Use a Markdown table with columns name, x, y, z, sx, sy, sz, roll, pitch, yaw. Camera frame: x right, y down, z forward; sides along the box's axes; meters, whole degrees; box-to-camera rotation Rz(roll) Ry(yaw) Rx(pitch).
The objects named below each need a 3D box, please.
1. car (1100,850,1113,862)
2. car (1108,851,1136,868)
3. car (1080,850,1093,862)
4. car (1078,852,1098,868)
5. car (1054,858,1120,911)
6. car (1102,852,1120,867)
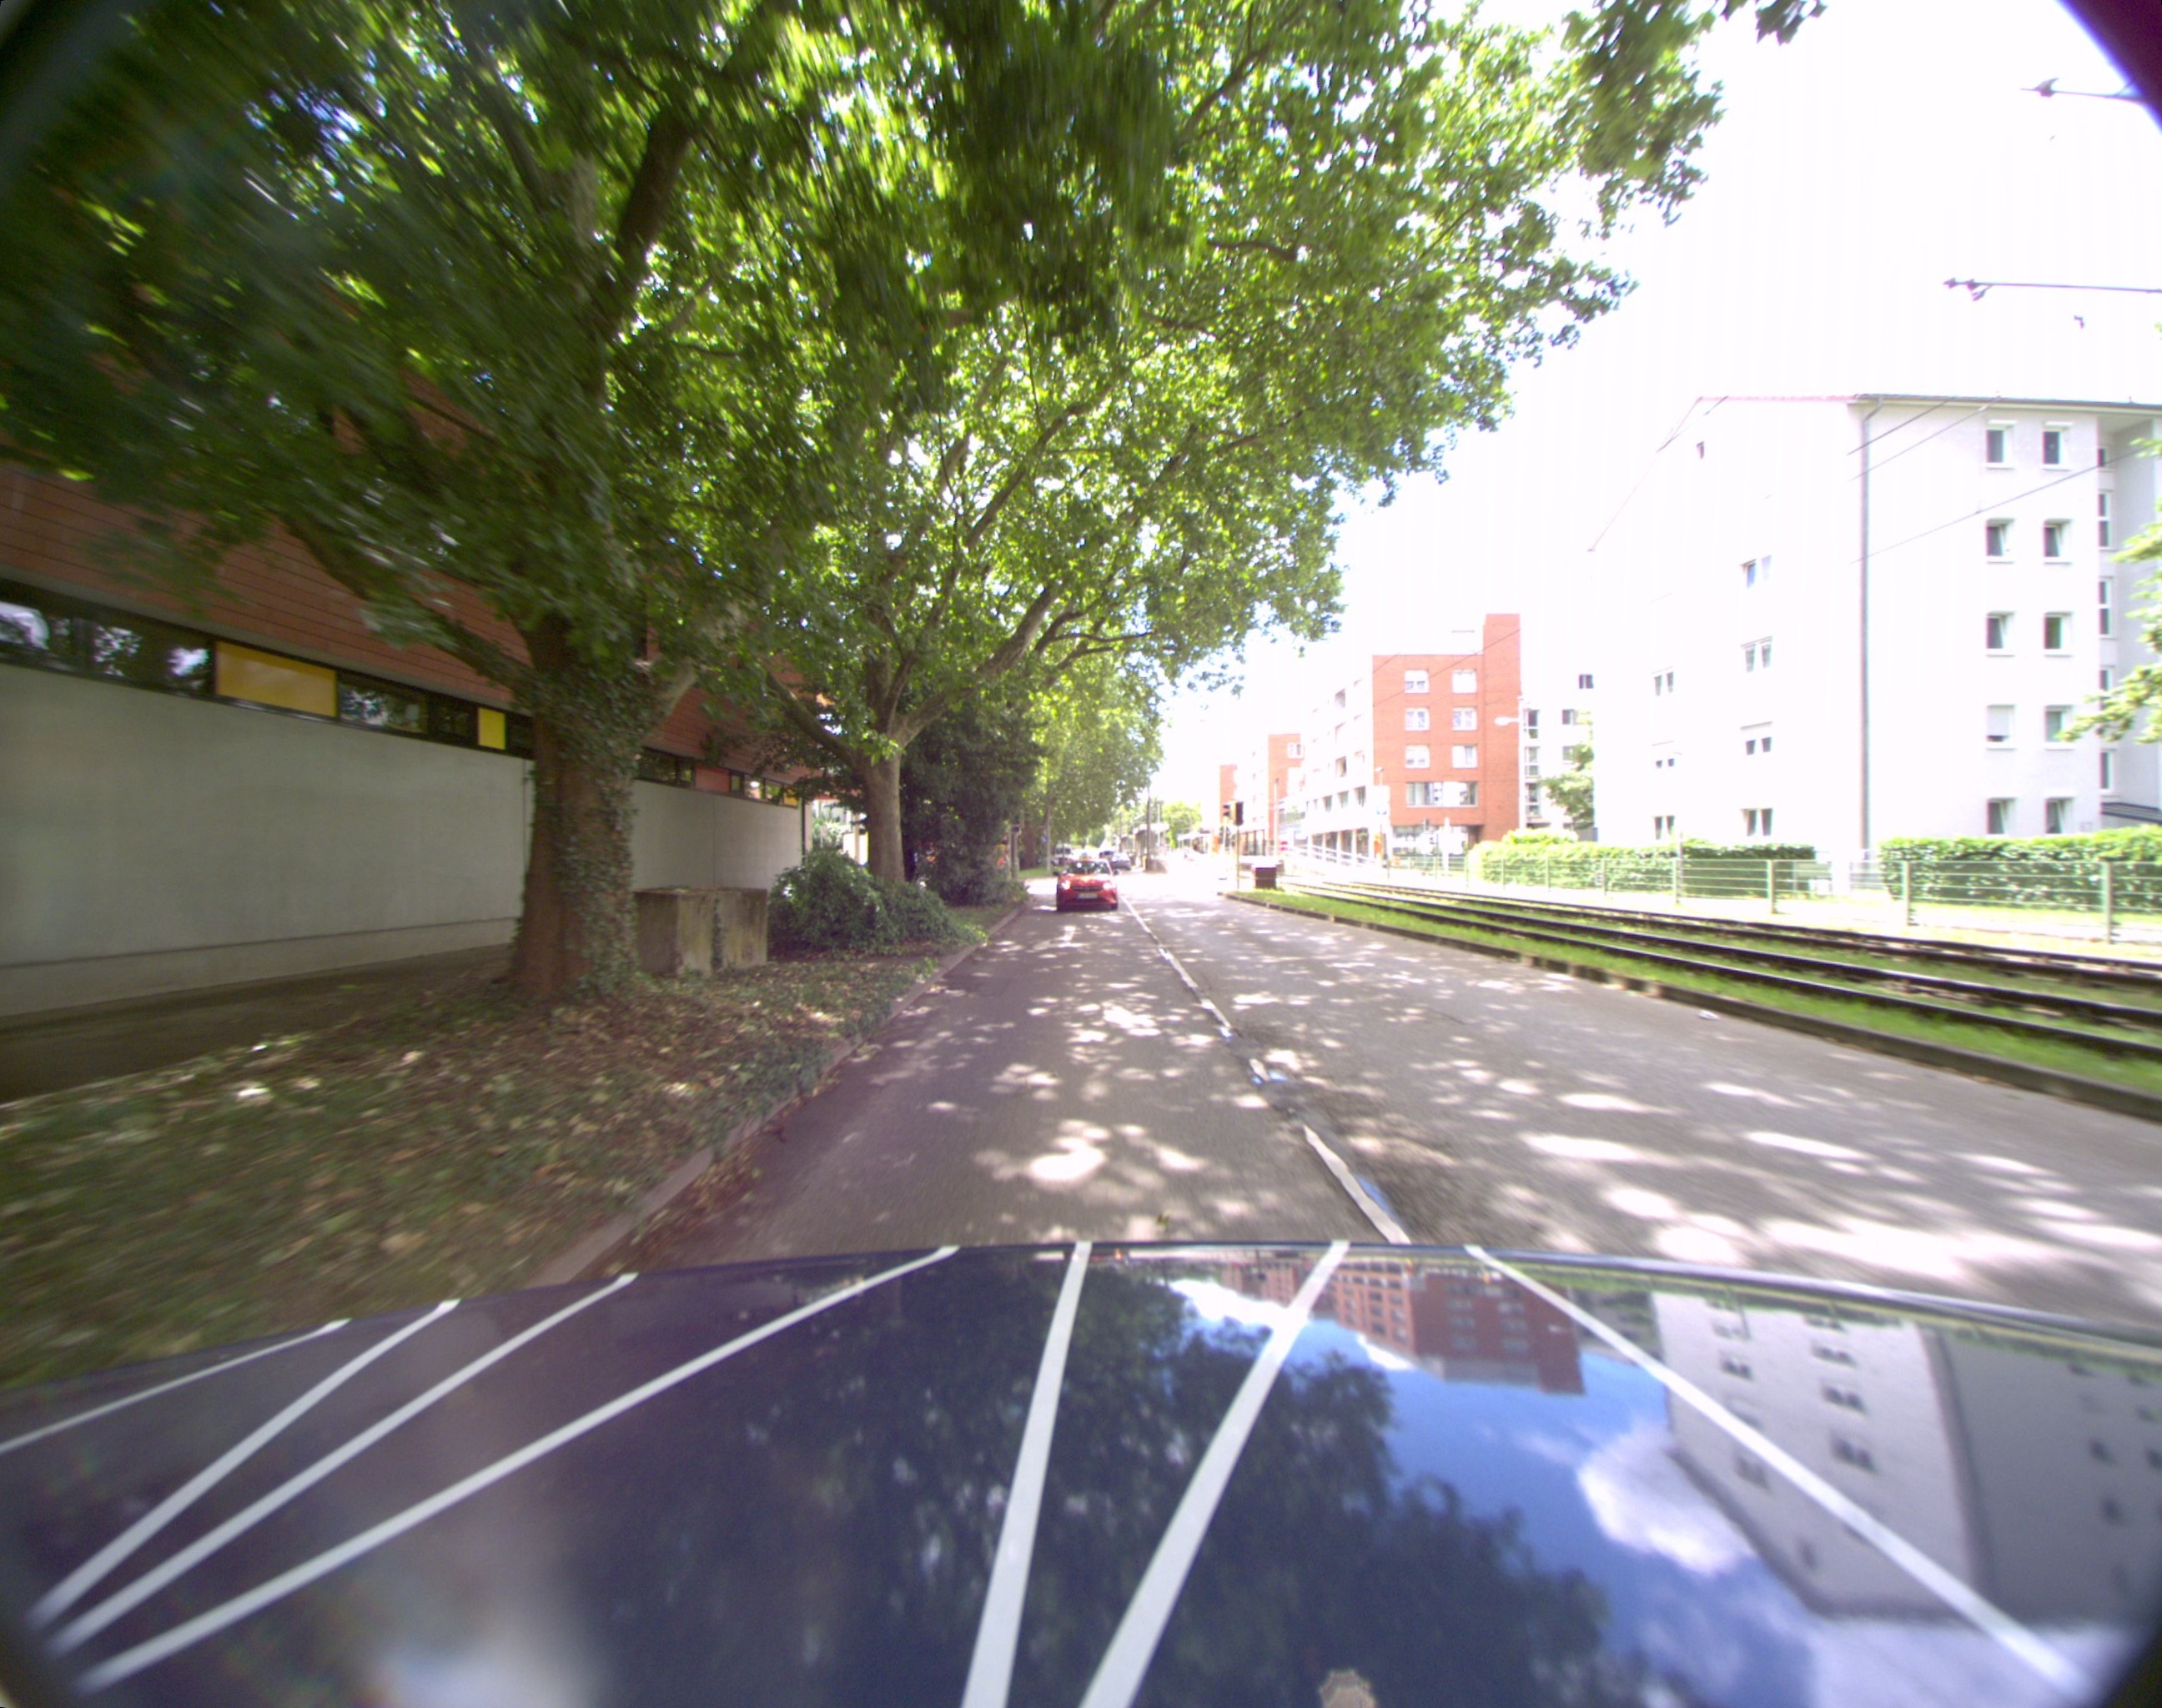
| name | x | y | z | sx | sy | sz | roll | pitch | yaw |
| --- | --- | --- | --- | --- | --- | --- | --- | --- | --- |
| car | 4.441 | 0.345 | 132.443 | 1.999 | 2.002 | 3.999 | -1 | 0 | -1 |
| car | 3.457 | 0.471 | 64.836 | 1.999 | 1.346 | 3.771 | -1 | 0 | -2 |
| car | 0.969 | 0.333 | 132.948 | 1.998 | 2.002 | 4.001 | -1 | 0 | 2 |
| car | 0.661 | 0.506 | 69.694 | 1.769 | 1.405 | 4.238 | -1 | 0 | 2 |
| car | 0.207 | 0.870 | 22.851 | 1.769 | 1.425 | 3.839 | -2 | -1 | 1 |
| car | 3.728 | 0.630 | 95.783 | 1.999 | 1.805 | 4.000 | -1 | 0 | 0 |
